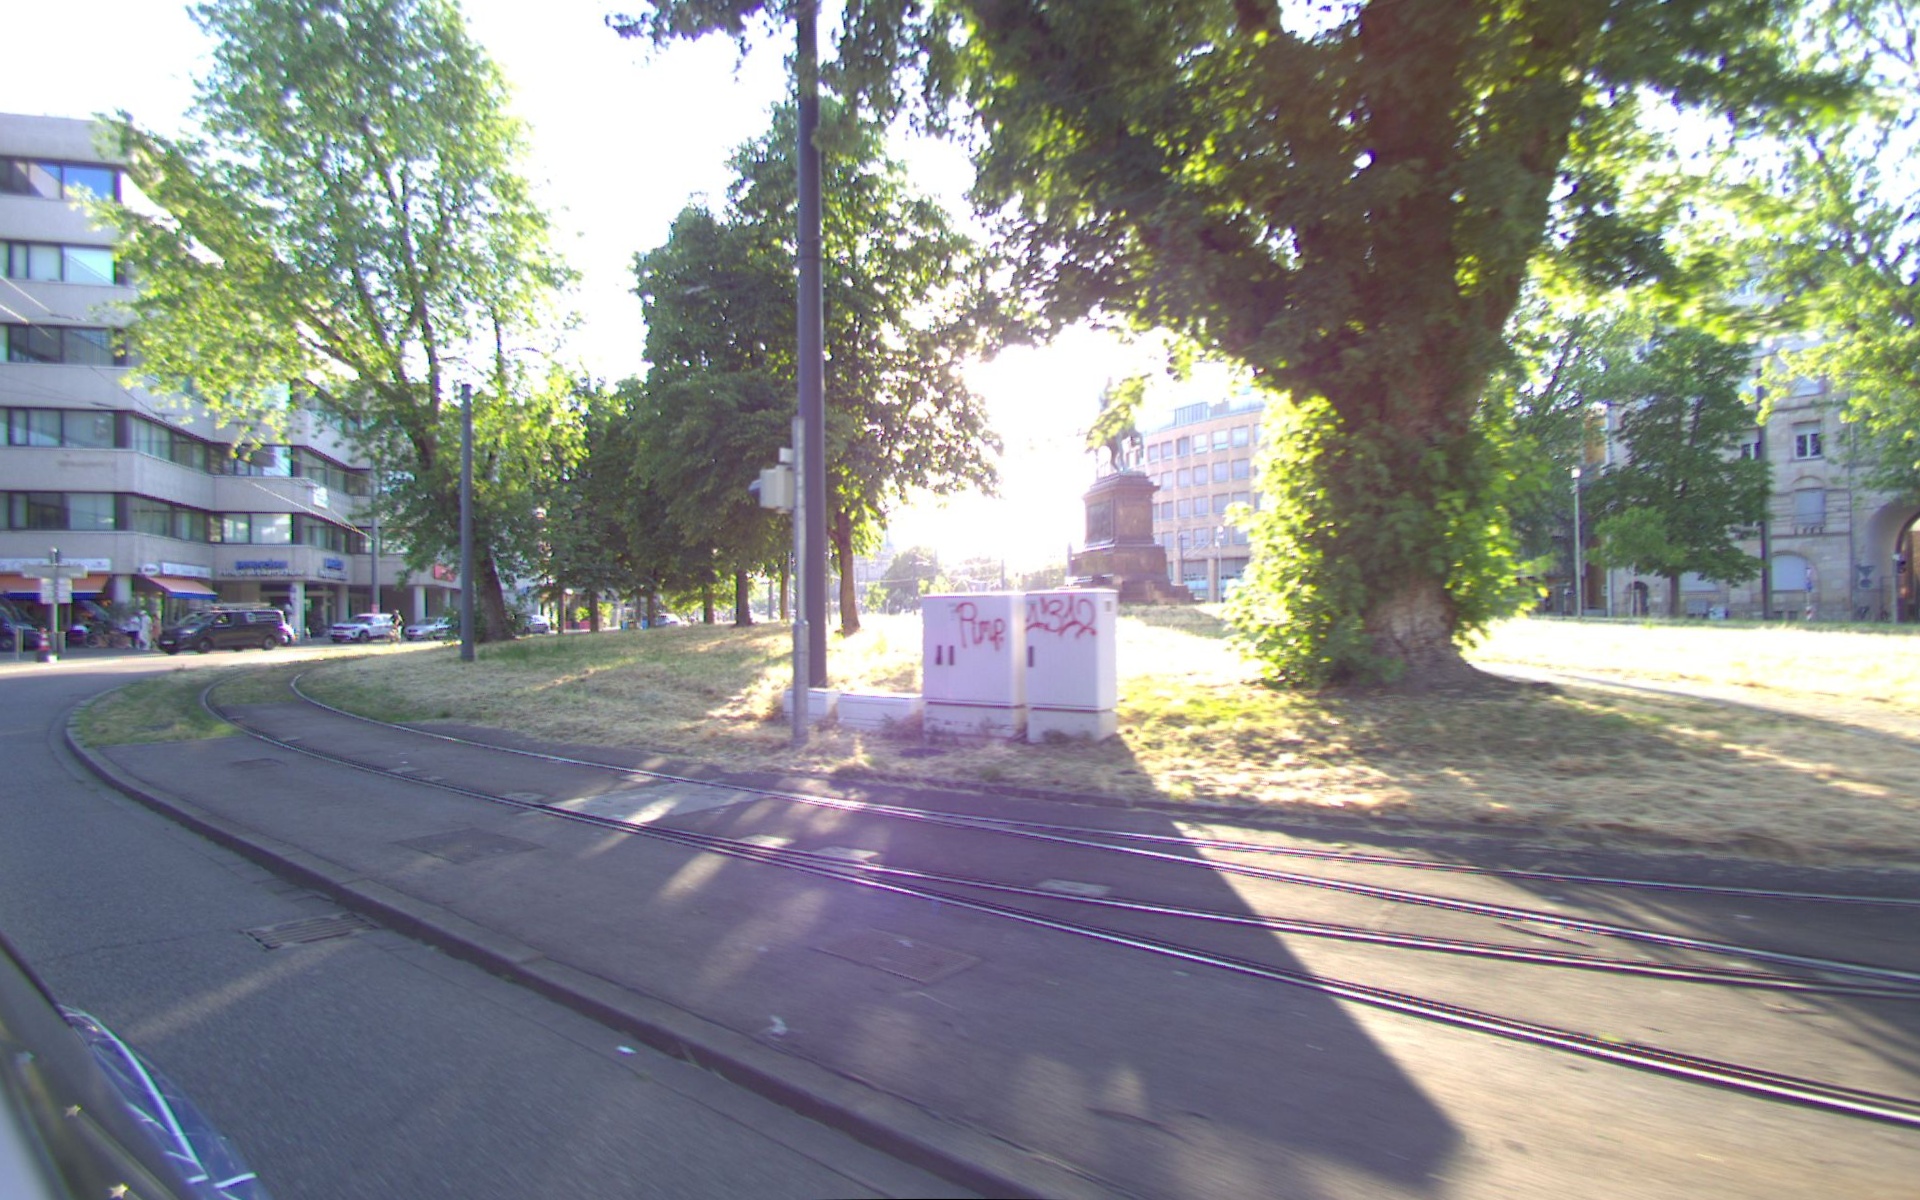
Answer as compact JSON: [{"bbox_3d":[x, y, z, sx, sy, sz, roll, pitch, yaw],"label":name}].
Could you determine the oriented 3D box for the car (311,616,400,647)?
[{"bbox_3d":[-35.243,1.815,59.137,1.979,1.617,4.507,-2,-1,11],"label":"car"}]

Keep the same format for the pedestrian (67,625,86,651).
[{"bbox_3d":[-41.523,1.780,47.587,0.454,1.203,0.422,4,-2,-15],"label":"pedestrian"}]

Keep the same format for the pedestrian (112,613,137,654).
[{"bbox_3d":[-39.335,1.579,47.657,0.611,1.852,0.537,3,-2,-3],"label":"pedestrian"}]

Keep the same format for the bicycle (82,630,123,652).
[{"bbox_3d":[-40.341,1.947,47.623,1.424,1.000,0.532,2,-1,-42],"label":"bicycle"}]

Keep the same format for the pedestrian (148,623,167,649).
[{"bbox_3d":[-40.614,1.816,51.230,0.601,1.331,0.561,0,-1,-24],"label":"pedestrian"}]

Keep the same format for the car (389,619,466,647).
[{"bbox_3d":[-34.142,2.089,65.048,1.979,1.617,4.507,-2,-1,11],"label":"car"}]

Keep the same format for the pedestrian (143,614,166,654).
[{"bbox_3d":[-37.879,1.617,47.601,0.525,1.852,0.500,3,-2,-3],"label":"pedestrian"}]

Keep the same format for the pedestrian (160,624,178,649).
[{"bbox_3d":[-41.570,1.908,53.193,0.601,1.331,0.593,0,-1,-24],"label":"pedestrian"}]

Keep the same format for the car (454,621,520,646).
[{"bbox_3d":[-33.307,2.359,71.432,1.979,1.617,4.507,-2,-1,11],"label":"car"}]

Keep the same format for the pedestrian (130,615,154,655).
[{"bbox_3d":[-38.626,1.649,47.776,0.564,1.852,0.605,4,-2,-14],"label":"pedestrian"}]

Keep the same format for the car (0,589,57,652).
[{"bbox_3d":[-43.863,0.898,44.803,5.341,2.748,2.188,1,-1,-18],"label":"car"}]

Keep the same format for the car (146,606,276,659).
[{"bbox_3d":[-33.215,1.384,45.068,1.979,2.172,4.507,-2,-1,11],"label":"car"}]

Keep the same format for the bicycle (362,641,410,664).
[{"bbox_3d":[-29.294,2.663,51.684,0.926,1.084,2.213,-1,-1,11],"label":"bicycle"}]

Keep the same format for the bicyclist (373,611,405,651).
[{"bbox_3d":[-29.270,1.588,51.899,0.915,1.989,1.109,-2,-1,11],"label":"bicyclist"}]
